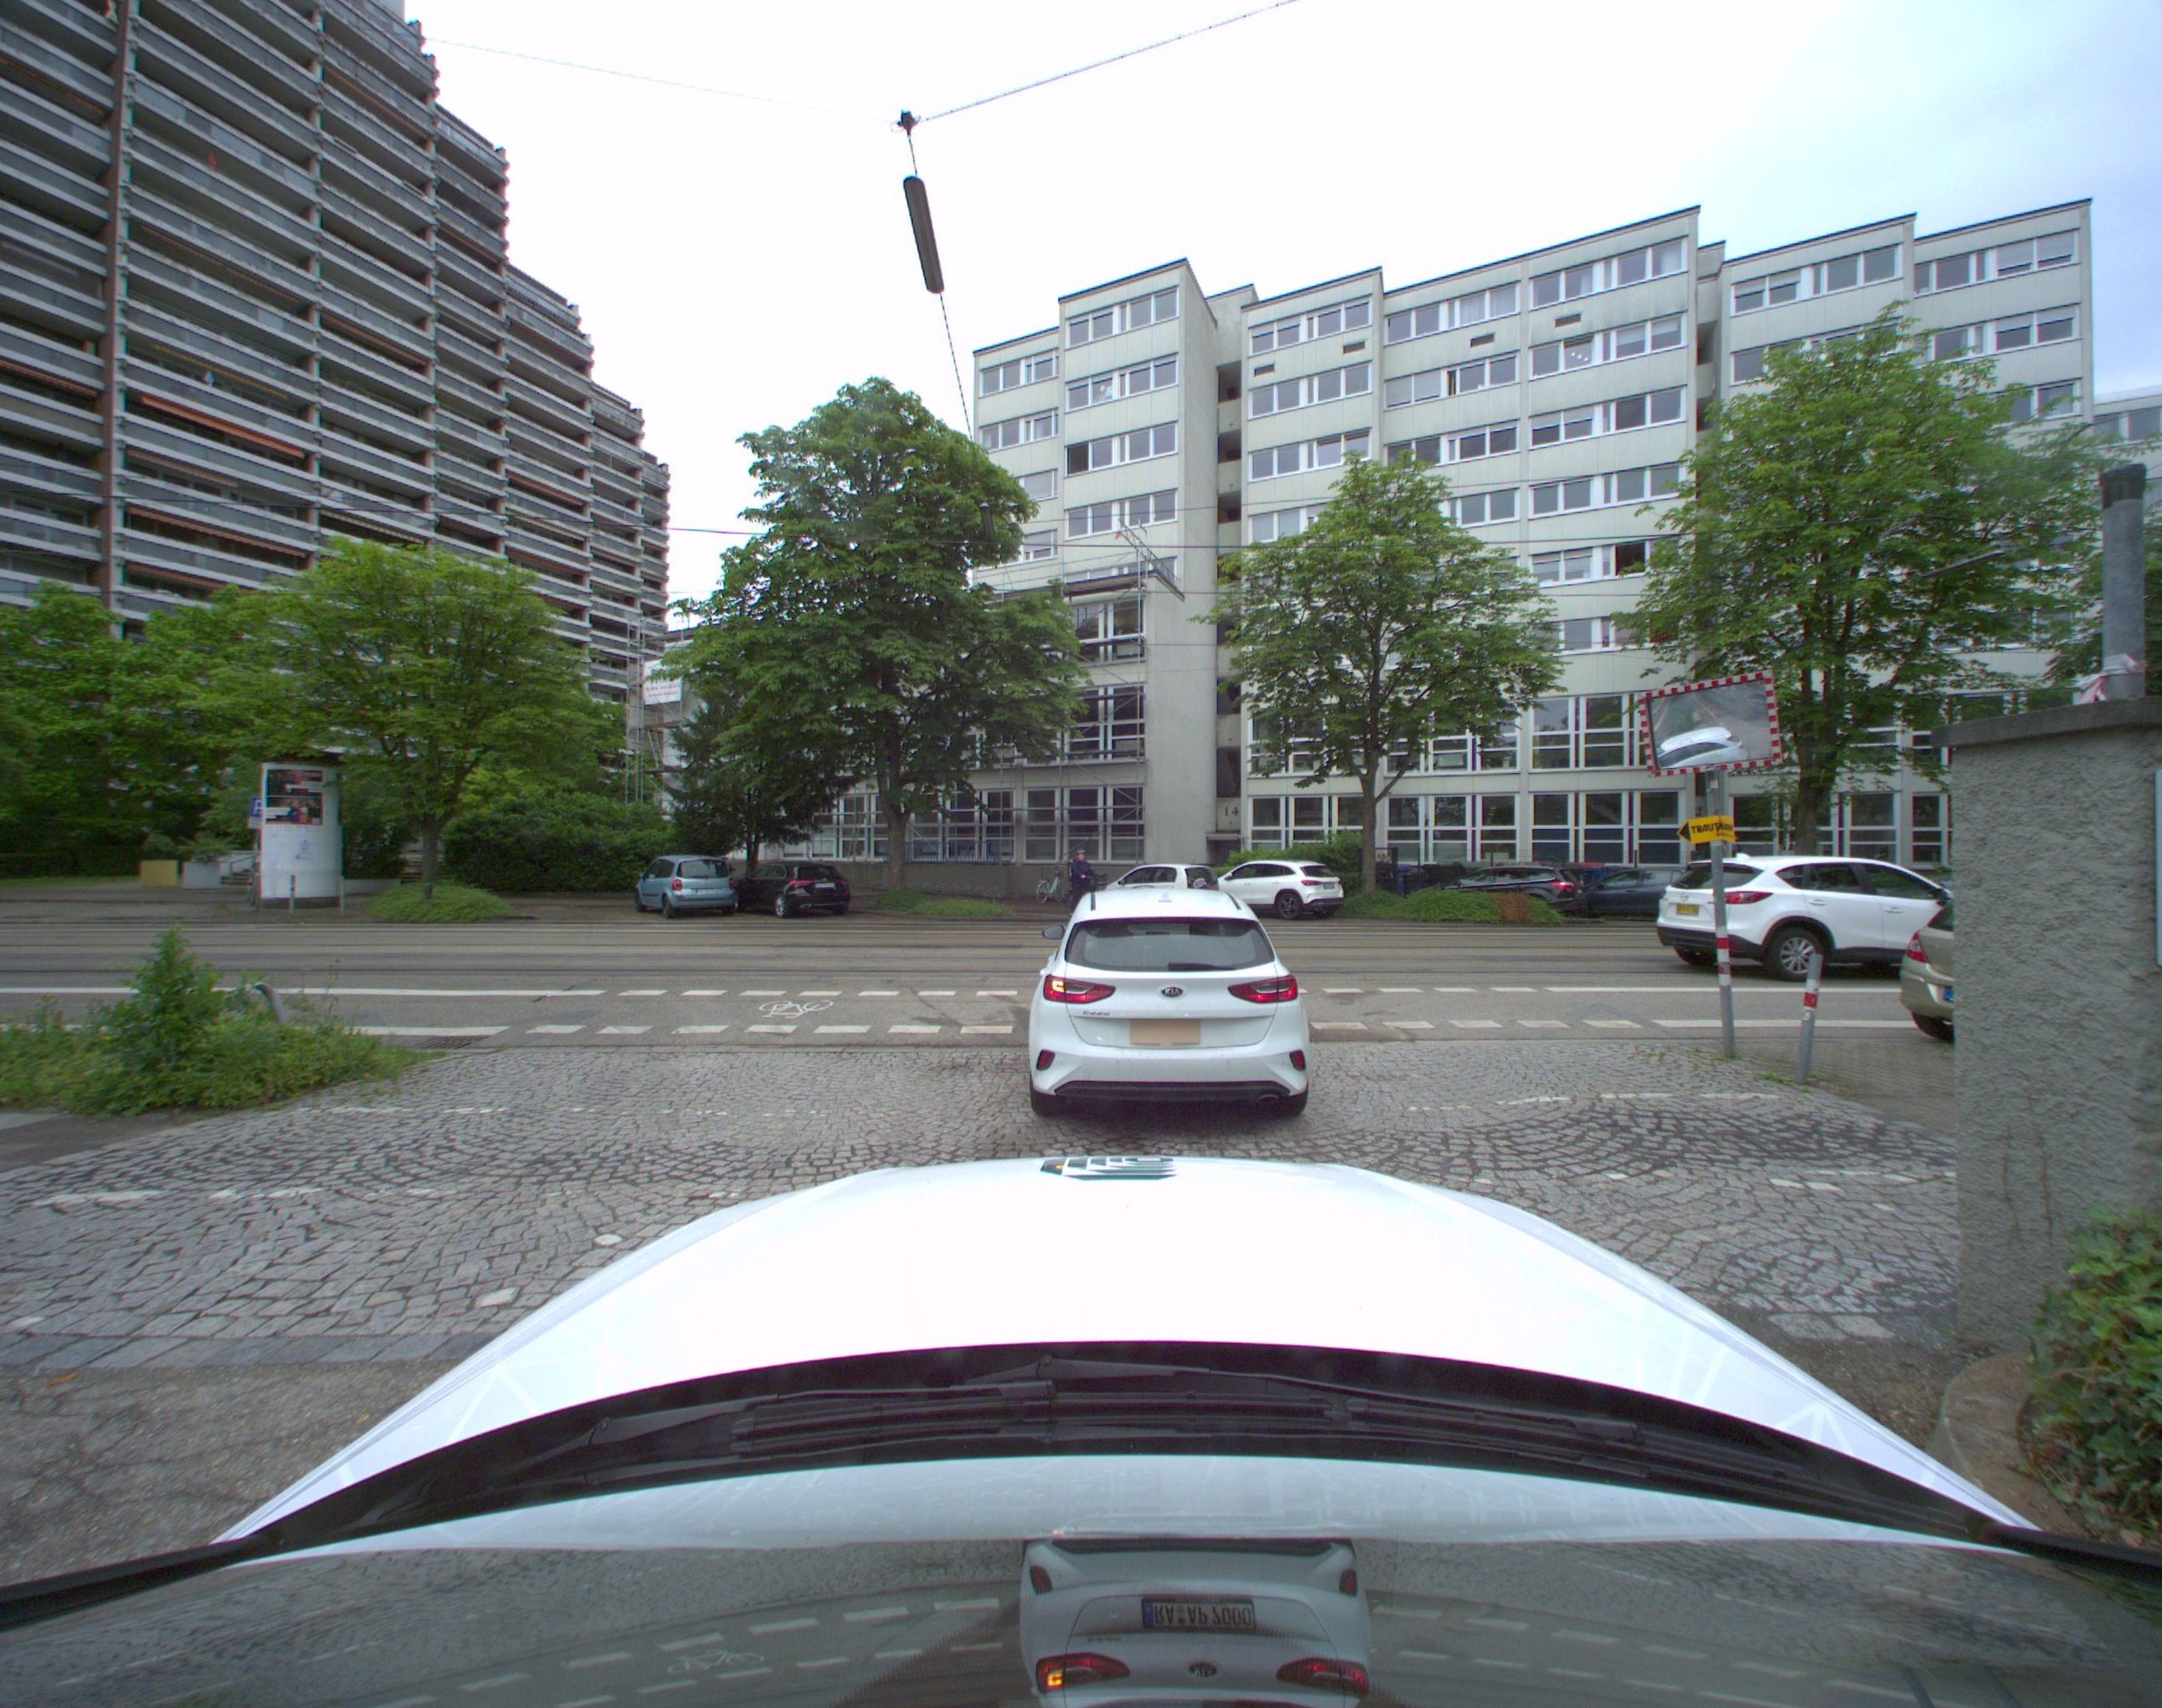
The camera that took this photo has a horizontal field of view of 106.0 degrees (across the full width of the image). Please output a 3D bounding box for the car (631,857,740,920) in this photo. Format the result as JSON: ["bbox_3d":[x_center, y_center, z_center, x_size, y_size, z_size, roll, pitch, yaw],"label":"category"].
[{"bbox_3d":[-10.553,0.843,21.634,1.628,1.537,3.295,0,-1,-45],"label":"car"}]

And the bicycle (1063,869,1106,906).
[{"bbox_3d":[0.134,1.115,27.882,0.638,1.074,2.325,0,3,22],"label":"bicycle"}]

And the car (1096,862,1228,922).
[{"bbox_3d":[2.140,0.978,22.079,1.565,1.473,3.367,0,-1,-42],"label":"car"}]

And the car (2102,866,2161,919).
[{"bbox_3d":[31.592,1.090,22.961,1.425,1.474,3.348,0,-1,-44],"label":"car"}]

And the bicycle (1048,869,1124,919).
[{"bbox_3d":[0.110,0.978,20.534,0.826,1.174,1.892,1,-1,-44],"label":"bicycle"}]

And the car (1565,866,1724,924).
[{"bbox_3d":[15.362,1.070,22.299,1.425,1.474,3.348,0,-1,-44],"label":"car"}]

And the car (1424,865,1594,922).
[{"bbox_3d":[11.937,1.049,22.855,3.904,1.474,1.683,-1,-1,42],"label":"car"}]

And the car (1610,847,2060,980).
[{"bbox_3d":[10.472,0.781,11.612,4.570,1.703,2.000,0,-1,0],"label":"car"}]

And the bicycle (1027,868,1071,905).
[{"bbox_3d":[-1.091,1.112,28.403,0.638,1.074,2.325,0,3,22],"label":"bicycle"}]

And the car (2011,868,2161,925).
[{"bbox_3d":[28.573,1.154,22.732,1.425,1.474,3.348,0,-1,-44],"label":"car"}]

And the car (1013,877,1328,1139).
[{"bbox_3d":[0.669,0.928,6.617,1.767,1.433,3.984,-1,-1,5],"label":"car"}]

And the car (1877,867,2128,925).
[{"bbox_3d":[25.268,1.133,22.618,4.441,1.474,1.425,-1,-4,42],"label":"car"}]

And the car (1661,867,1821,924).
[{"bbox_3d":[18.474,1.107,22.884,1.425,1.474,3.348,0,-1,-44],"label":"car"}]

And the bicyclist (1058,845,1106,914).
[{"bbox_3d":[0.022,0.621,20.638,0.839,1.698,0.886,1,-1,-43],"label":"bicyclist"}]

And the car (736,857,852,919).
[{"bbox_3d":[-7.659,0.849,21.607,1.628,1.511,3.295,0,-1,-45],"label":"car"}]

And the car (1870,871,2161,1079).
[{"bbox_3d":[9.196,0.914,6.834,3.570,1.501,1.665,0,-1,0],"label":"car"}]

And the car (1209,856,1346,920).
[{"bbox_3d":[5.346,0.892,22.446,1.565,1.618,3.367,0,-1,-42],"label":"car"}]
